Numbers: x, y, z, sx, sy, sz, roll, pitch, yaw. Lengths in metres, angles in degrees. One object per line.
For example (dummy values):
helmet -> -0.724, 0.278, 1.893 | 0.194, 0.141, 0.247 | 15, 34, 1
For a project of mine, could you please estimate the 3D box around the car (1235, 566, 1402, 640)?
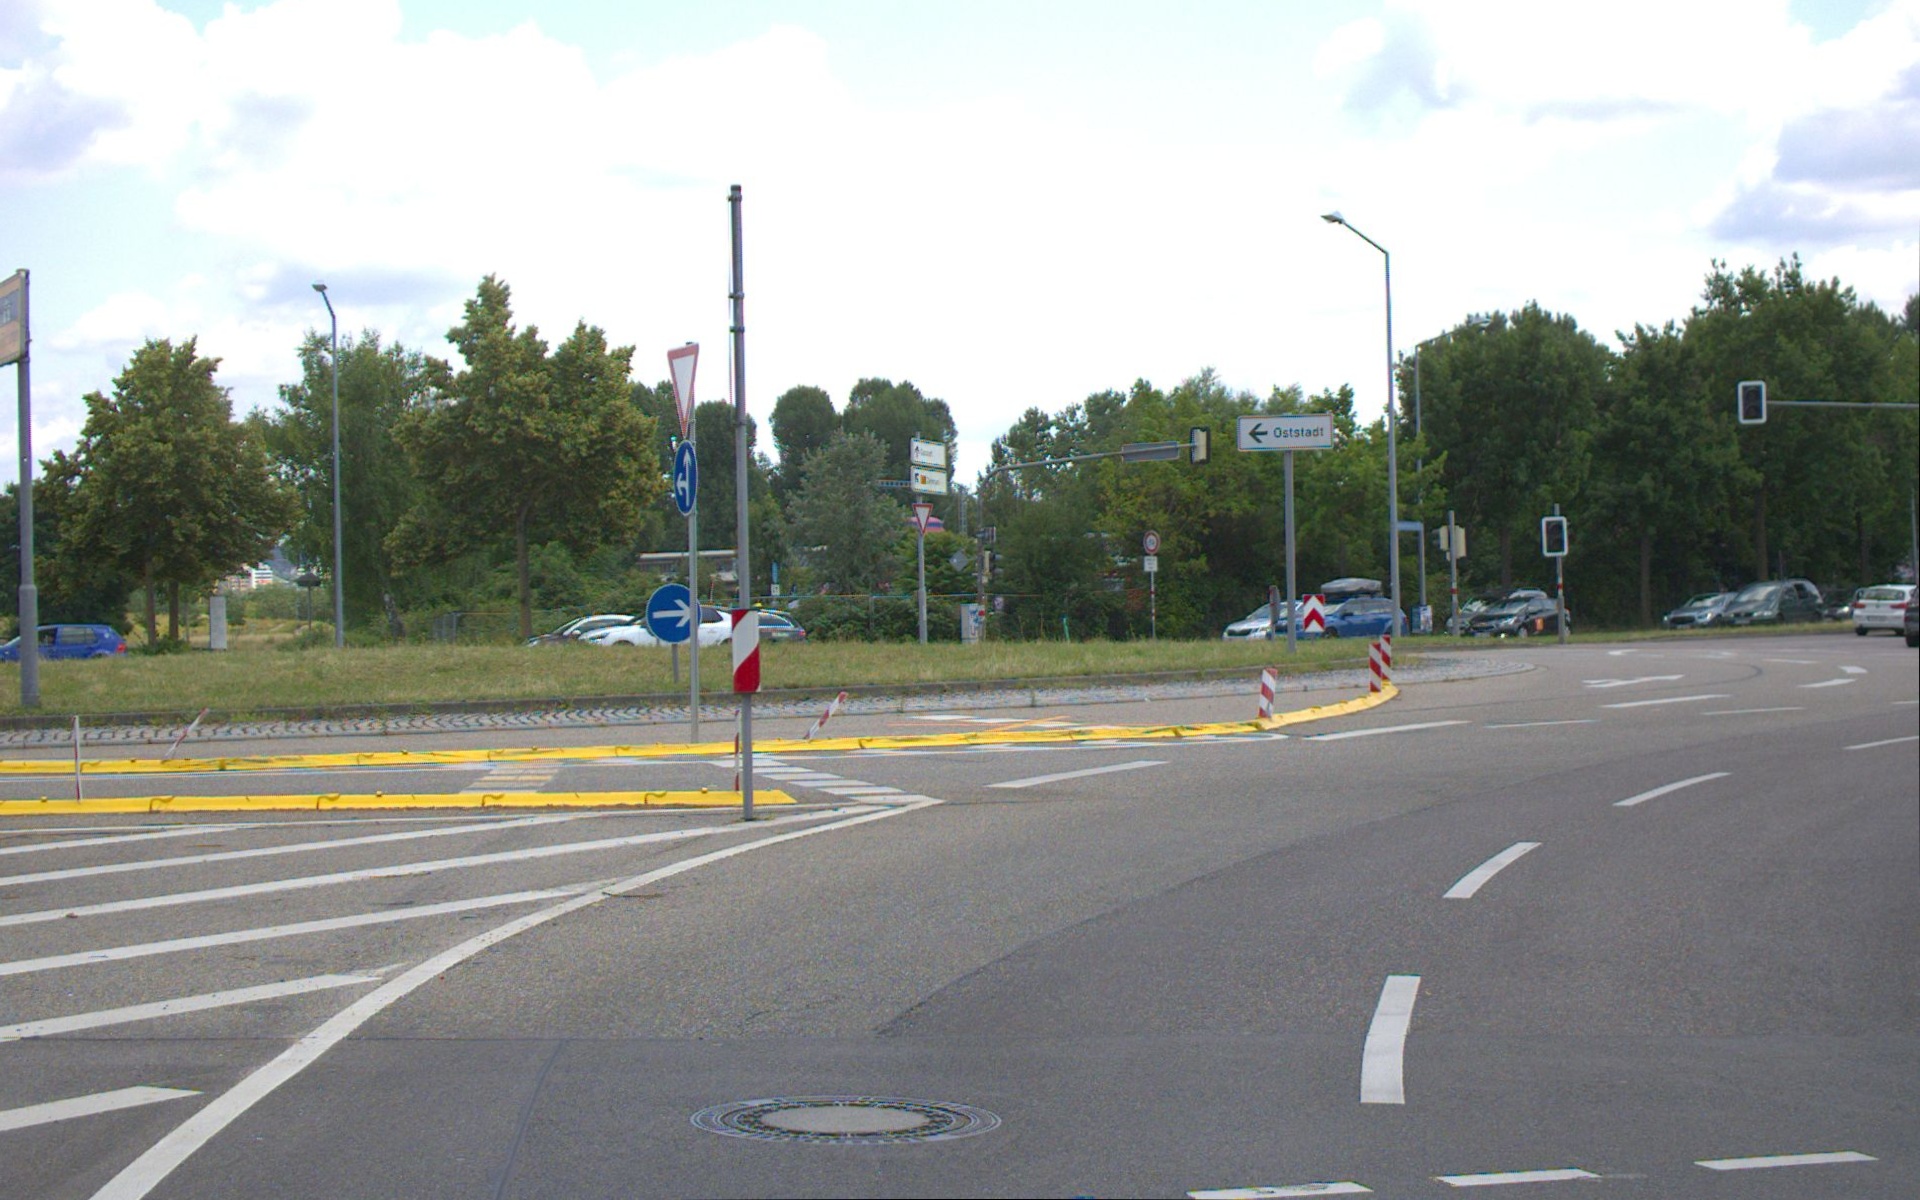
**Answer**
car -> 9.215, 0.063, 88.238 | 4.396, 1.792, 1.755 | -2, 1, -42

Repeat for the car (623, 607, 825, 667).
car -> -5.735, 0.874, 83.641 | 4.476, 1.318, 1.954 | -1, 1, -28

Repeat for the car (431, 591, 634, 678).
car -> -10.601, 0.825, 85.146 | 4.709, 2.007, 2.001 | -1, 0, -16

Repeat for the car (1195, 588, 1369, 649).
car -> 8.695, 0.497, 92.665 | 4.495, 1.516, 2.123 | -2, 1, -41

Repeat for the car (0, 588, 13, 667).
car -> -22.940, 0.642, 73.303 | 5.053, 1.669, 2.000 | -1, 1, -23

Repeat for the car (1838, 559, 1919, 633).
car -> 26.246, -0.138, 96.402 | 1.997, 2.007, 3.993 | -1, 0, 32

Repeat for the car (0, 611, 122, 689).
car -> -22.740, 1.199, 83.146 | 4.709, 1.785, 1.849 | 0, 1, -16

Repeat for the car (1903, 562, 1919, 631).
car -> 23.764, -0.077, 82.272 | 1.995, 1.620, 4.305 | 0, 0, 20

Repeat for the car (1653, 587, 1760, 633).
car -> 24.321, 0.311, 111.906 | 1.909, 1.418, 4.183 | -1, 0, 35

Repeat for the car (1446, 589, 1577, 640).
car -> 16.387, 0.429, 102.022 | 3.969, 1.336, 1.801 | -2, -1, -45

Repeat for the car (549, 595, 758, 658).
car -> -6.962, 0.586, 78.042 | 4.296, 1.325, 2.000 | -1, 0, -24

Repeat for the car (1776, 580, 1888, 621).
car -> 30.826, 0.019, 121.486 | 1.842, 1.306, 4.776 | -4, -2, 40
